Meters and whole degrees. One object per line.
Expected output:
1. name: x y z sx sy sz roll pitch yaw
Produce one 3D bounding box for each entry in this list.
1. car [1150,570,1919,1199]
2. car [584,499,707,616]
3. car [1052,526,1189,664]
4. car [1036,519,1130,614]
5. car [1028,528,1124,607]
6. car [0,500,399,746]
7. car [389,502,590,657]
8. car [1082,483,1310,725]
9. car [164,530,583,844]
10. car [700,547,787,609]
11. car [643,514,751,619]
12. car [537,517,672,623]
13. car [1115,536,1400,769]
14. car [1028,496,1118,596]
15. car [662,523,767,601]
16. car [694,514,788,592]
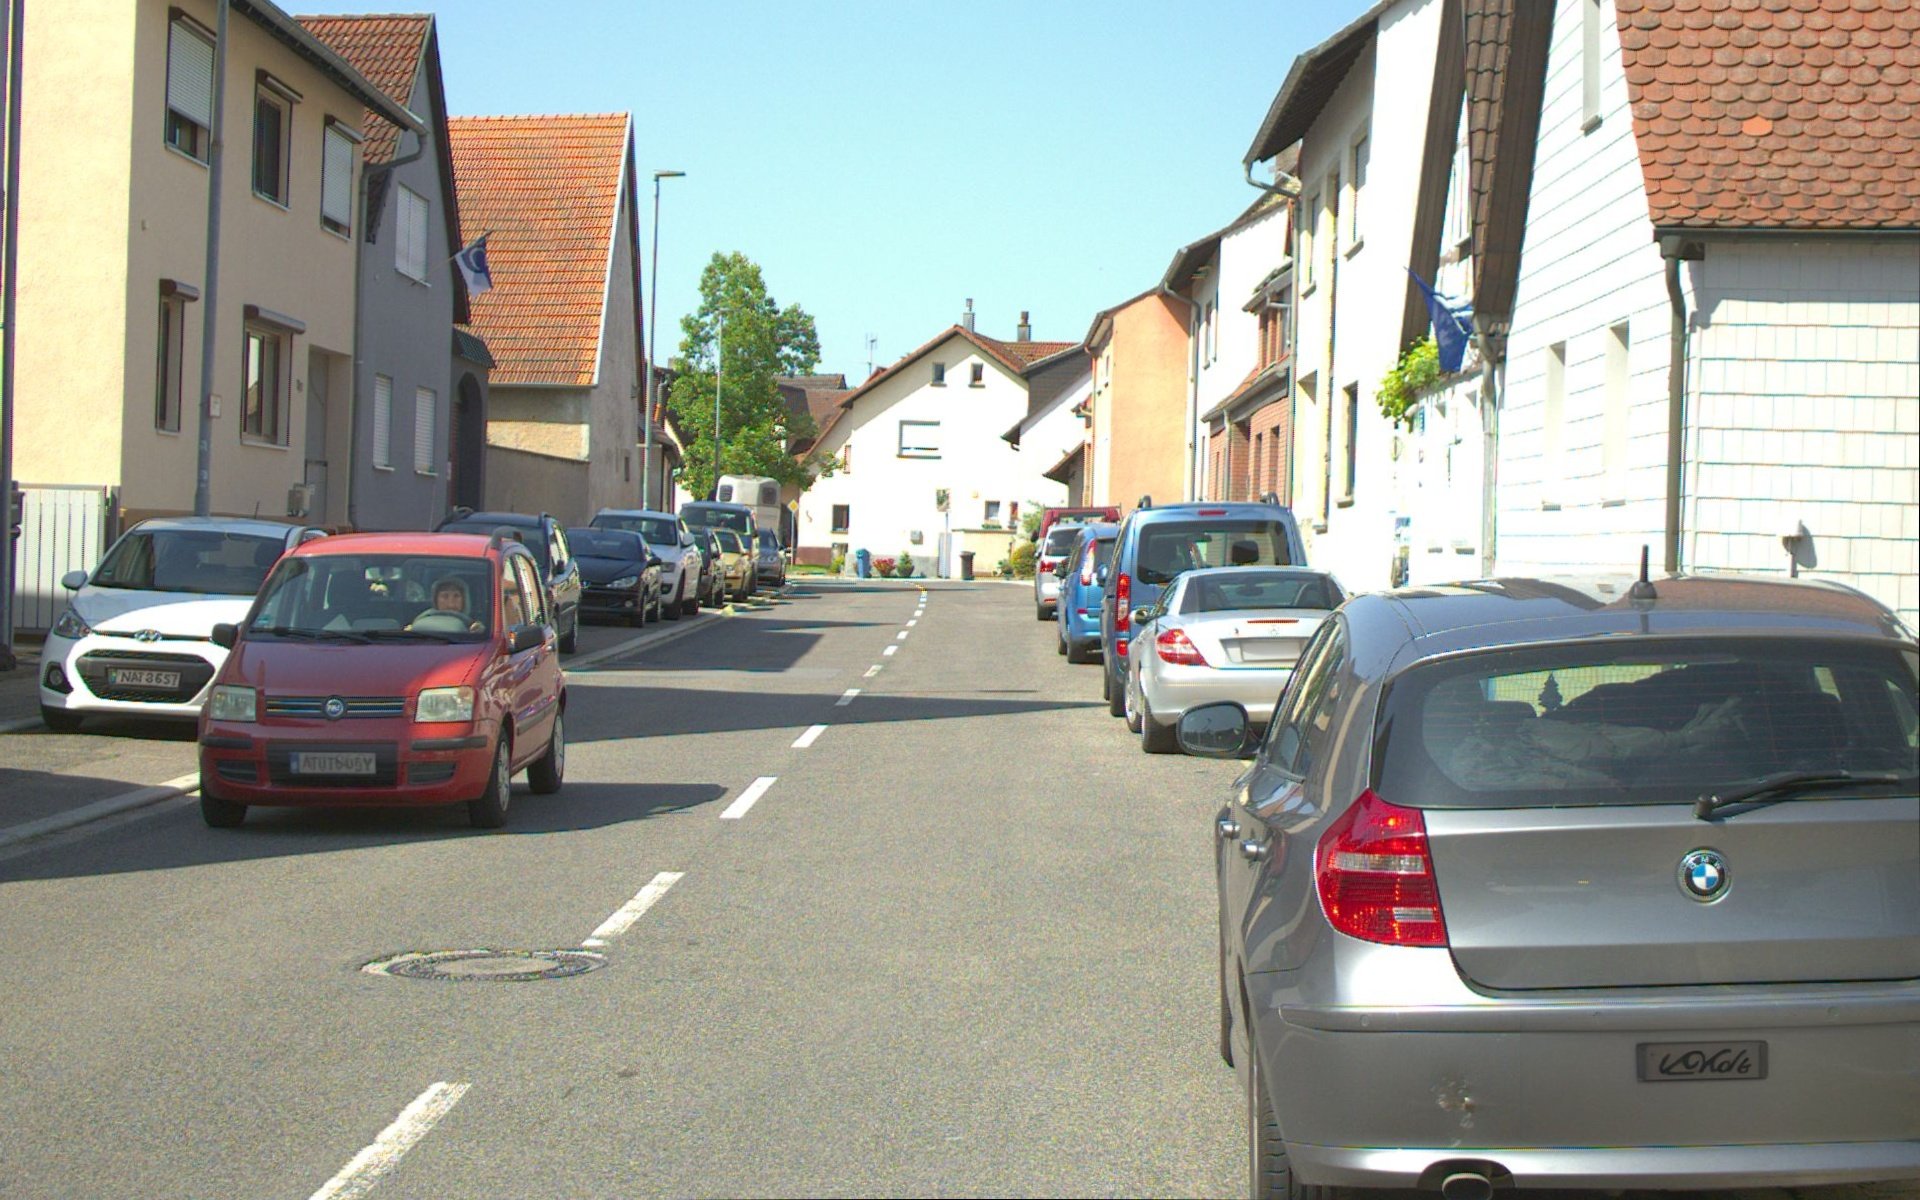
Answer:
1. car: 1.413 0.657 8.250 1.704 1.428 3.890 0 1 0
2. car: -4.949 -0.678 54.447 1.527 1.707 3.626 3 1 0
3. car: 1.871 -0.082 40.825 1.420 1.510 3.304 3 1 0
4. car: 2.073 -0.578 58.415 1.420 1.510 3.304 3 1 0
5. car: 2.225 -0.623 66.178 1.767 1.428 3.450 1 0 2
6. car: -5.437 0.122 24.973 1.806 1.542 4.403 3 1 2
7. car: -5.206 -0.243 38.432 1.619 1.572 3.962 3 1 0
8. car: 1.989 0.007 29.859 1.649 1.903 3.626 3 1 0
9. car: -3.107 0.405 18.855 1.601 1.484 3.626 3 1 0
10. car: -5.313 -0.542 84.760 1.754 1.437 4.000 1 0 2
11. car: -4.552 -0.592 59.870 1.527 1.707 3.626 3 1 0
12. car: -5.124 -0.438 49.899 1.504 1.448 3.509 1 0 1
13. car: 2.086 0.330 24.911 1.704 1.491 3.452 3 1 0
14. car: 2.347 -1.118 71.662 1.767 1.997 3.450 1 0 2
15. car: -4.808 -0.744 67.776 1.754 1.437 4.000 1 0 0
16. car: -4.772 -1.010 75.299 1.754 1.619 4.000 1 0 0
